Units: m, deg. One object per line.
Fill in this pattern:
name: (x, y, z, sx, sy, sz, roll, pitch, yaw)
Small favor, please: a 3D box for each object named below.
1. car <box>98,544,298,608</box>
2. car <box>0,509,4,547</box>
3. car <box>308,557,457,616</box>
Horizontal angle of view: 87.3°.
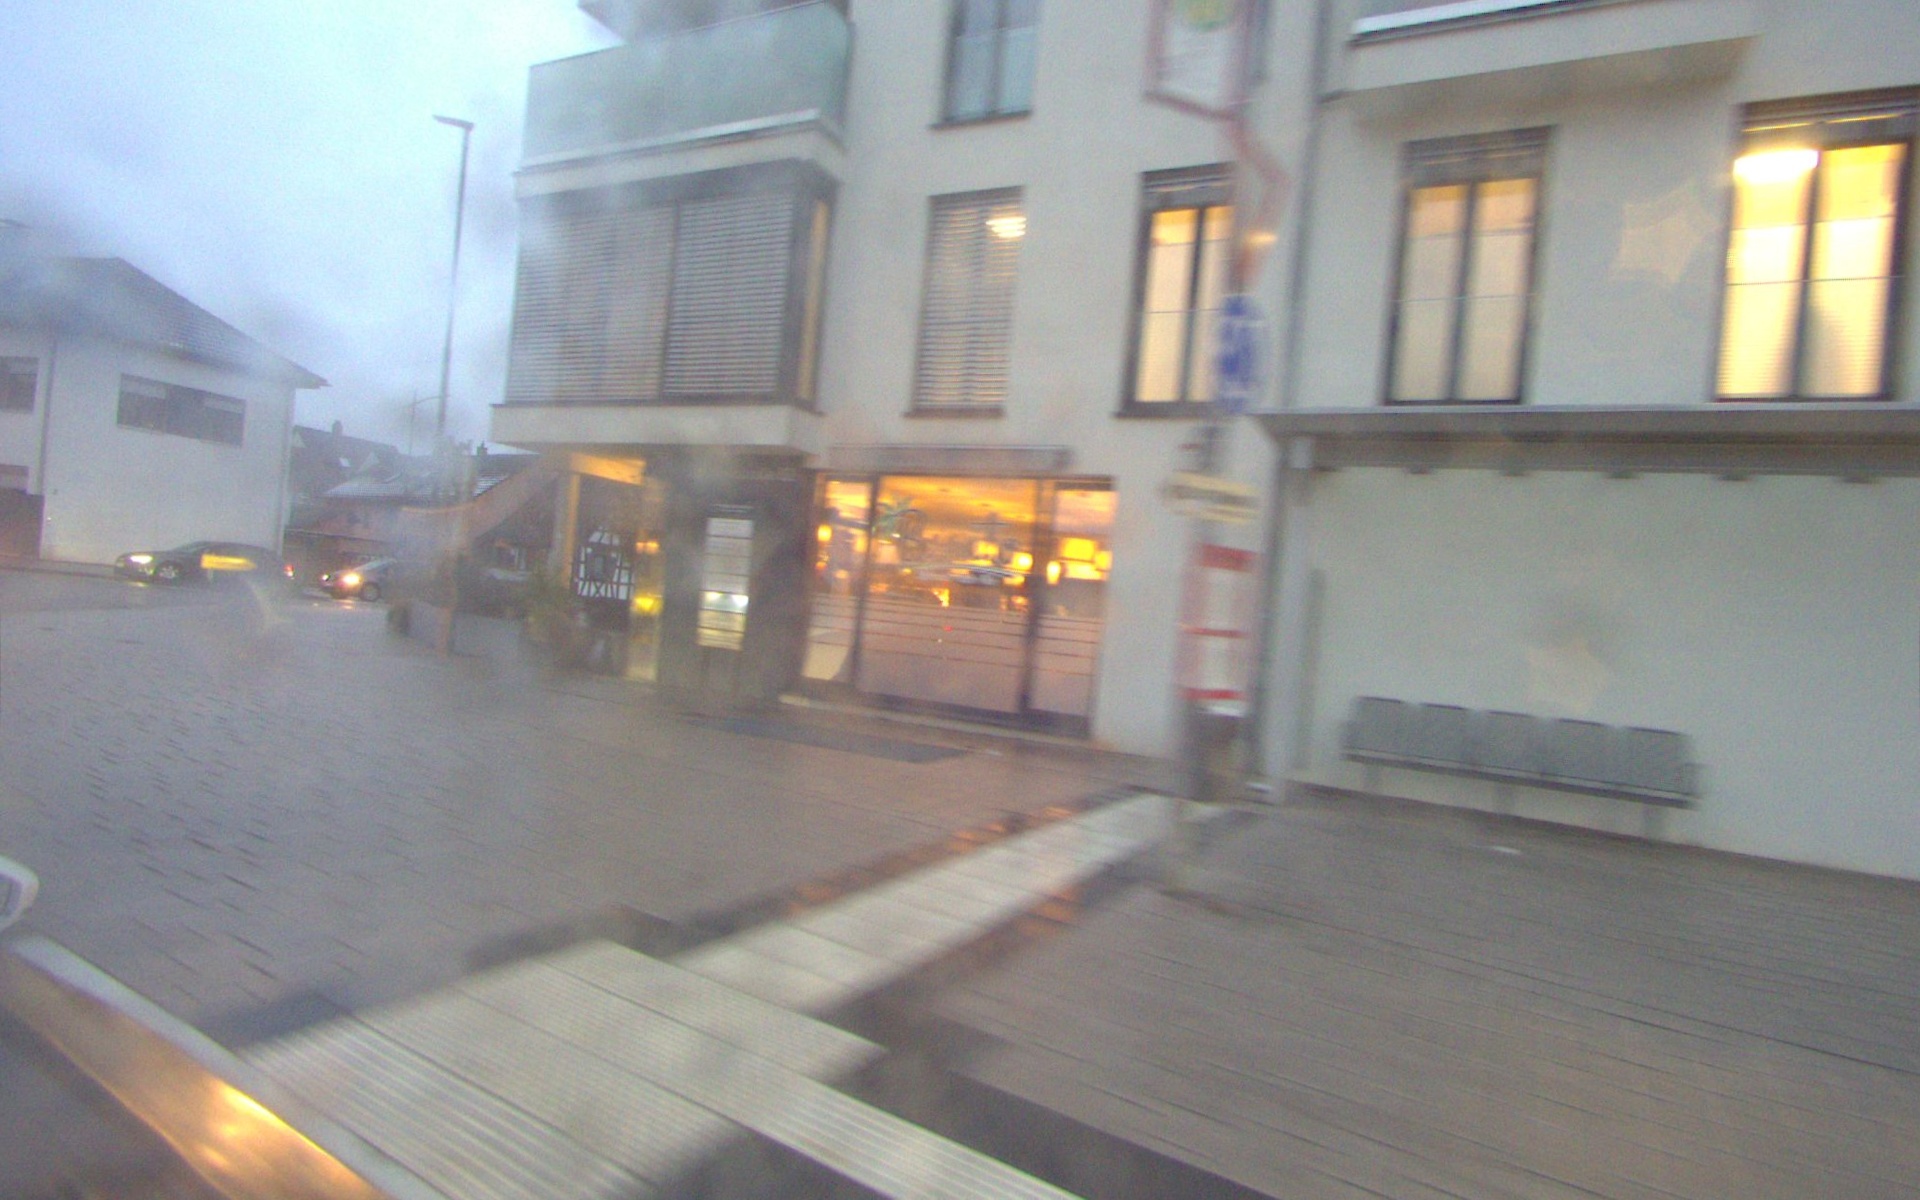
car: (-22.151, -0.669, 29.441, 1.819, 1.400, 4.231, 3, -3, 27)
car: (-22.968, -1.454, 21.763, 3.860, 1.558, 1.783, 7, 0, 22)
car: (-19.465, -0.417, 34.091, 1.668, 1.570, 3.995, 5, -2, 30)
